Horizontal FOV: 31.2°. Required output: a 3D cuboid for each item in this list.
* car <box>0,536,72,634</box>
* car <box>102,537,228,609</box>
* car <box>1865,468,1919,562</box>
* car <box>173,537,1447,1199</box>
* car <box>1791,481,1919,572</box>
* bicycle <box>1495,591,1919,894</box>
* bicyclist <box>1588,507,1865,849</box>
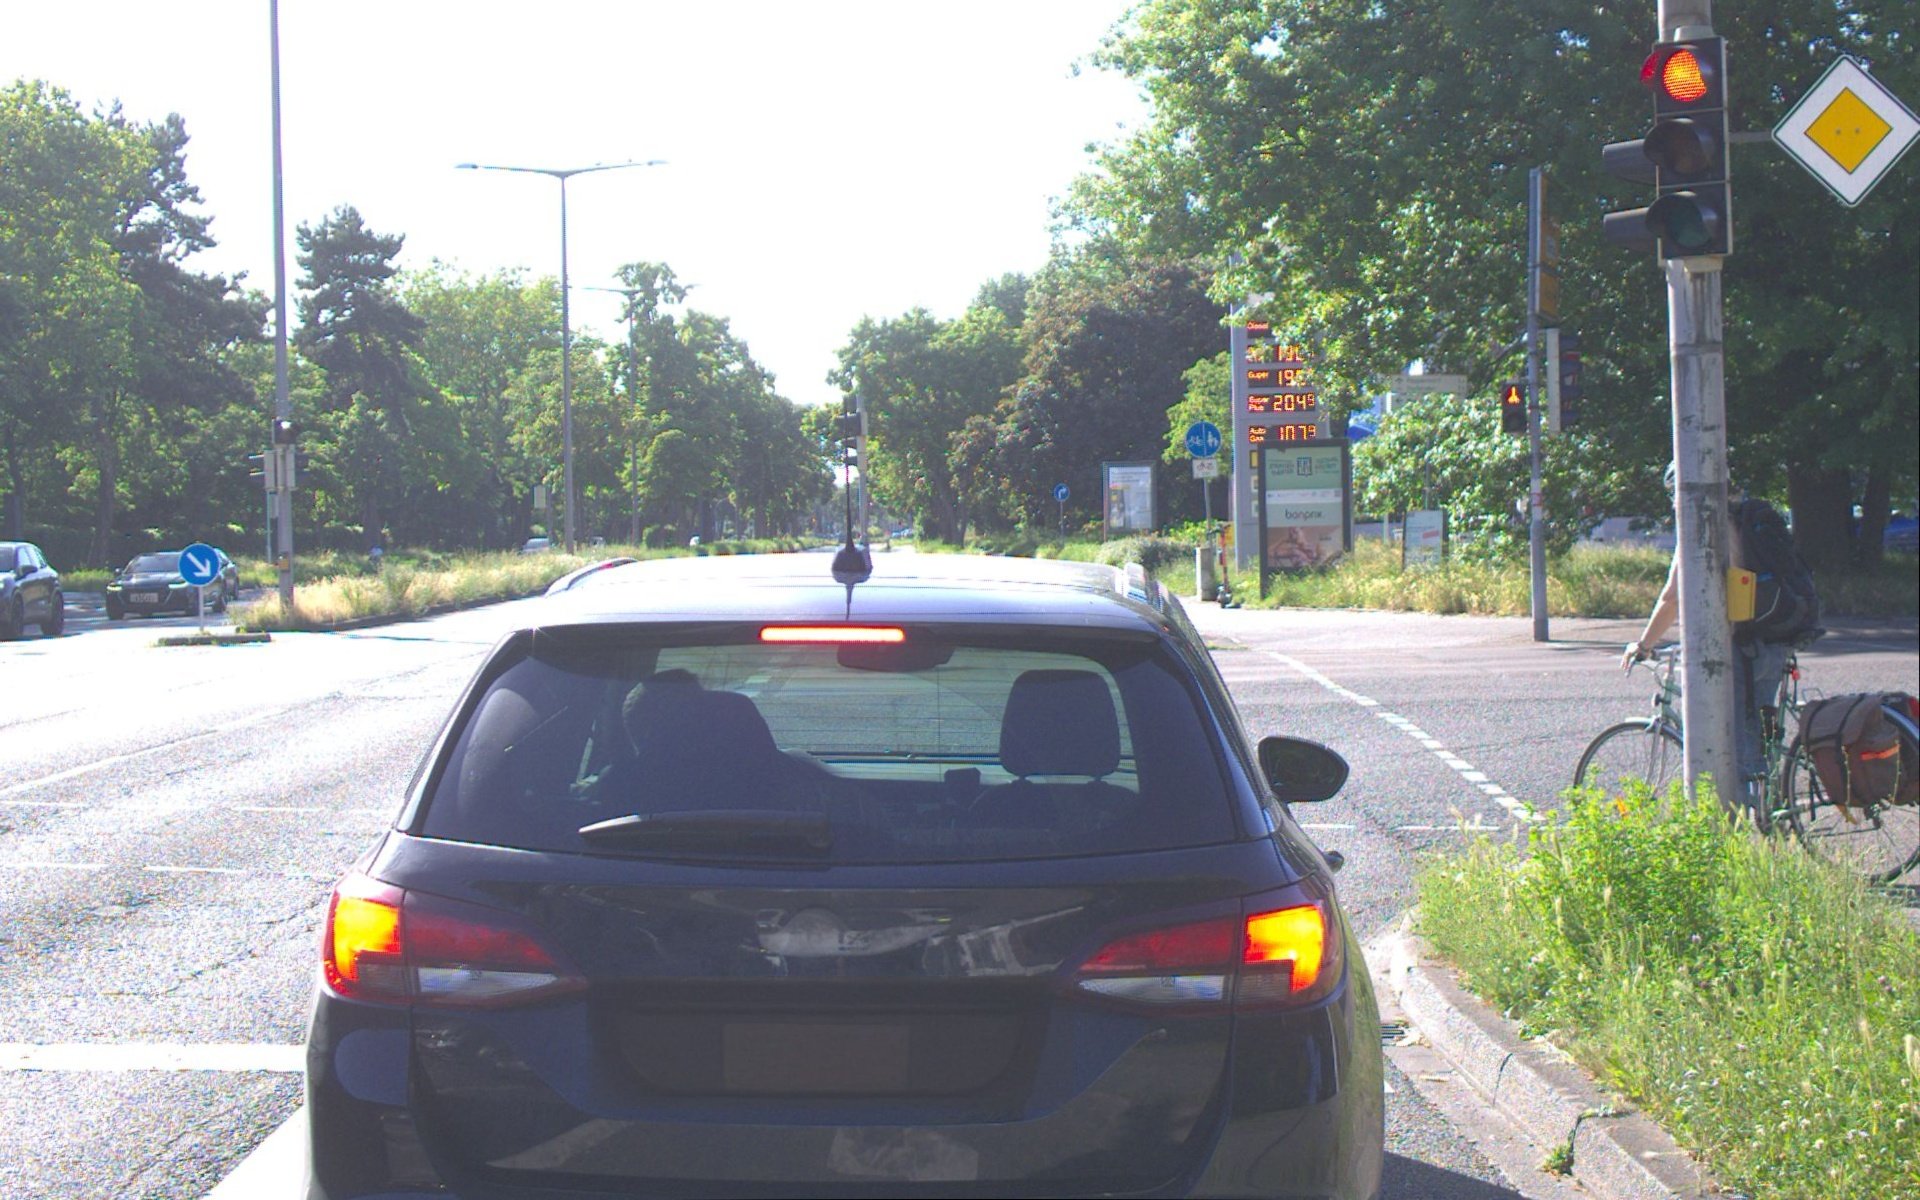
[{"bbox_3d":[-16.819,-0.270,58.952,1.993,1.596,4.616,-1,1,-1],"label":"car"},{"bbox_3d":[-17.166,-0.596,74.387,1.776,1.458,4.165,-1,1,-1],"label":"car"},{"bbox_3d":[17.092,-1.440,56.726,3.887,1.512,1.746,-2,1,-23],"label":"car"},{"bbox_3d":[-0.231,0.634,6.856,1.756,1.490,4.207,0,1,-1],"label":"car"},{"bbox_3d":[16.616,-1.299,59.812,3.887,1.512,1.746,-2,1,-23],"label":"car"},{"bbox_3d":[2.980,0.547,13.343,0.536,1.094,1.775,-3,0,-44],"label":"bicycle"},{"bbox_3d":[2.970,0.302,13.339,0.536,1.272,0.829,-3,0,-44],"label":"bicyclist"}]
